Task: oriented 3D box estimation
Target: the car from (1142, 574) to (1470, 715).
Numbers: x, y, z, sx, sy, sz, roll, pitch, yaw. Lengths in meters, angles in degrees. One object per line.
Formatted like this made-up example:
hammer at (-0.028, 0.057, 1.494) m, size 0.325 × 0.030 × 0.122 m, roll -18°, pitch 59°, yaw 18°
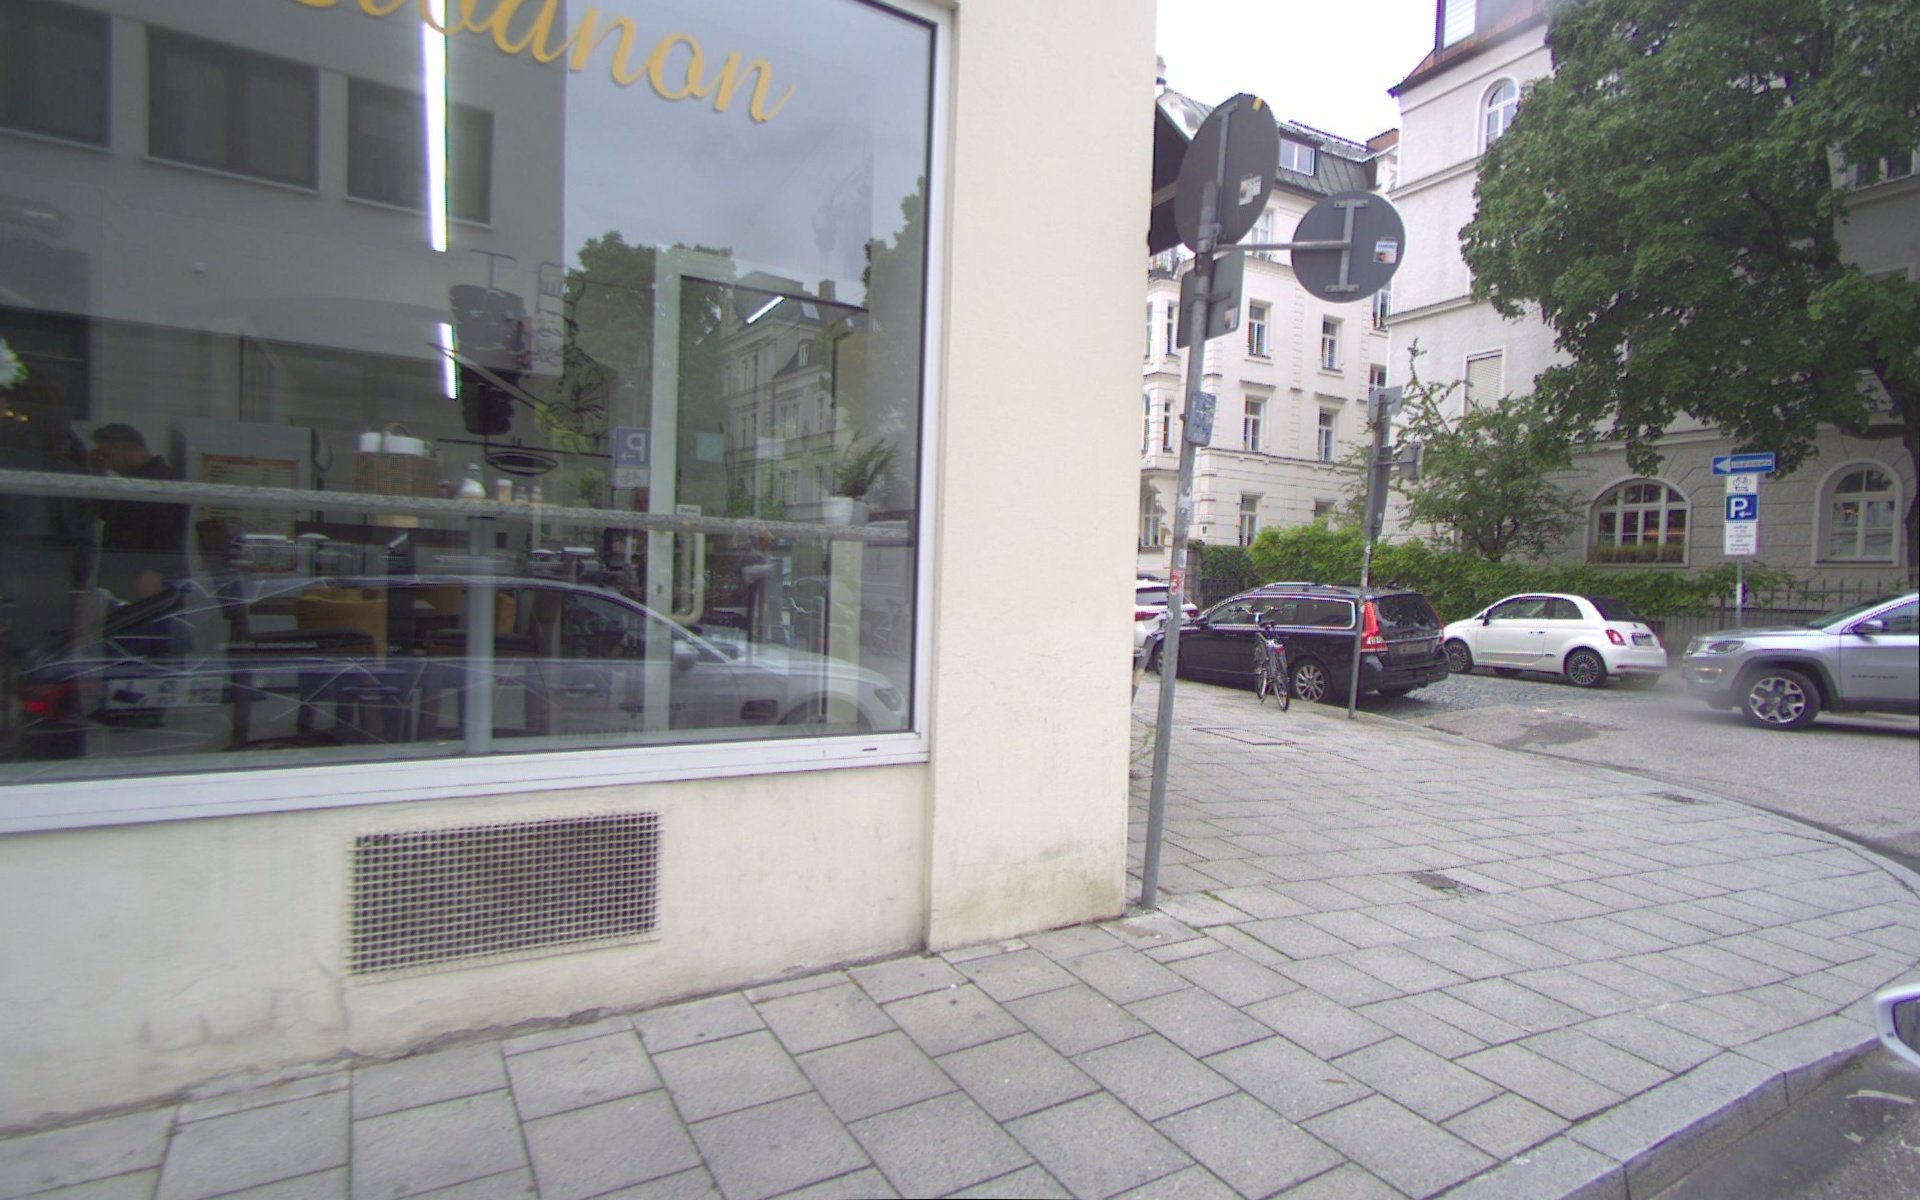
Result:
car at (4.713, 0.474, 14.359) m, size 1.880 × 1.537 × 4.314 m, roll -3°, pitch 4°, yaw -29°

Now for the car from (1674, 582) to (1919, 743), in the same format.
car at (10.629, 0.678, 11.227) m, size 4.237 × 1.629 × 1.957 m, roll 2°, pitch 1°, yaw 35°

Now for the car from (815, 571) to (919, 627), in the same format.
car at (-2.743, -0.068, 28.773) m, size 1.599 × 1.461 × 3.972 m, roll 1°, pitch 1°, yaw -27°

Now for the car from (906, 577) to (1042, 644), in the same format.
car at (0.233, 0.197, 23.272) m, size 1.573 × 1.359 × 3.787 m, roll 1°, pitch 1°, yaw -27°

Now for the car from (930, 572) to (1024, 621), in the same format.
car at (0.542, -0.154, 35.278) m, size 1.666 × 1.554 × 3.842 m, roll 1°, pitch 2°, yaw -27°

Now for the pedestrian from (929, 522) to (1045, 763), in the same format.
pedestrian at (0.193, 0.285, 7.331) m, size 0.535 × 1.664 × 0.598 m, roll 0°, pitch 2°, yaw -44°

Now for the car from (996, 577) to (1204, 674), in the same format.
car at (2.492, 0.377, 18.903) m, size 1.663 × 1.528 × 4.230 m, roll -1°, pitch 3°, yaw -29°

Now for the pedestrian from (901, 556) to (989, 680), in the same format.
pedestrian at (-0.209, 0.229, 13.433) m, size 0.842 × 1.572 × 0.744 m, roll 4°, pitch 1°, yaw -29°

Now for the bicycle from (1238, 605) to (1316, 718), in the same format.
bicycle at (3.774, 0.682, 12.080) m, size 0.597 × 1.185 × 1.836 m, roll 3°, pitch 1°, yaw 10°

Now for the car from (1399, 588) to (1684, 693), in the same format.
car at (9.817, 0.610, 17.306) m, size 1.663 × 1.468 × 3.973 m, roll 1°, pitch 2°, yaw -26°
